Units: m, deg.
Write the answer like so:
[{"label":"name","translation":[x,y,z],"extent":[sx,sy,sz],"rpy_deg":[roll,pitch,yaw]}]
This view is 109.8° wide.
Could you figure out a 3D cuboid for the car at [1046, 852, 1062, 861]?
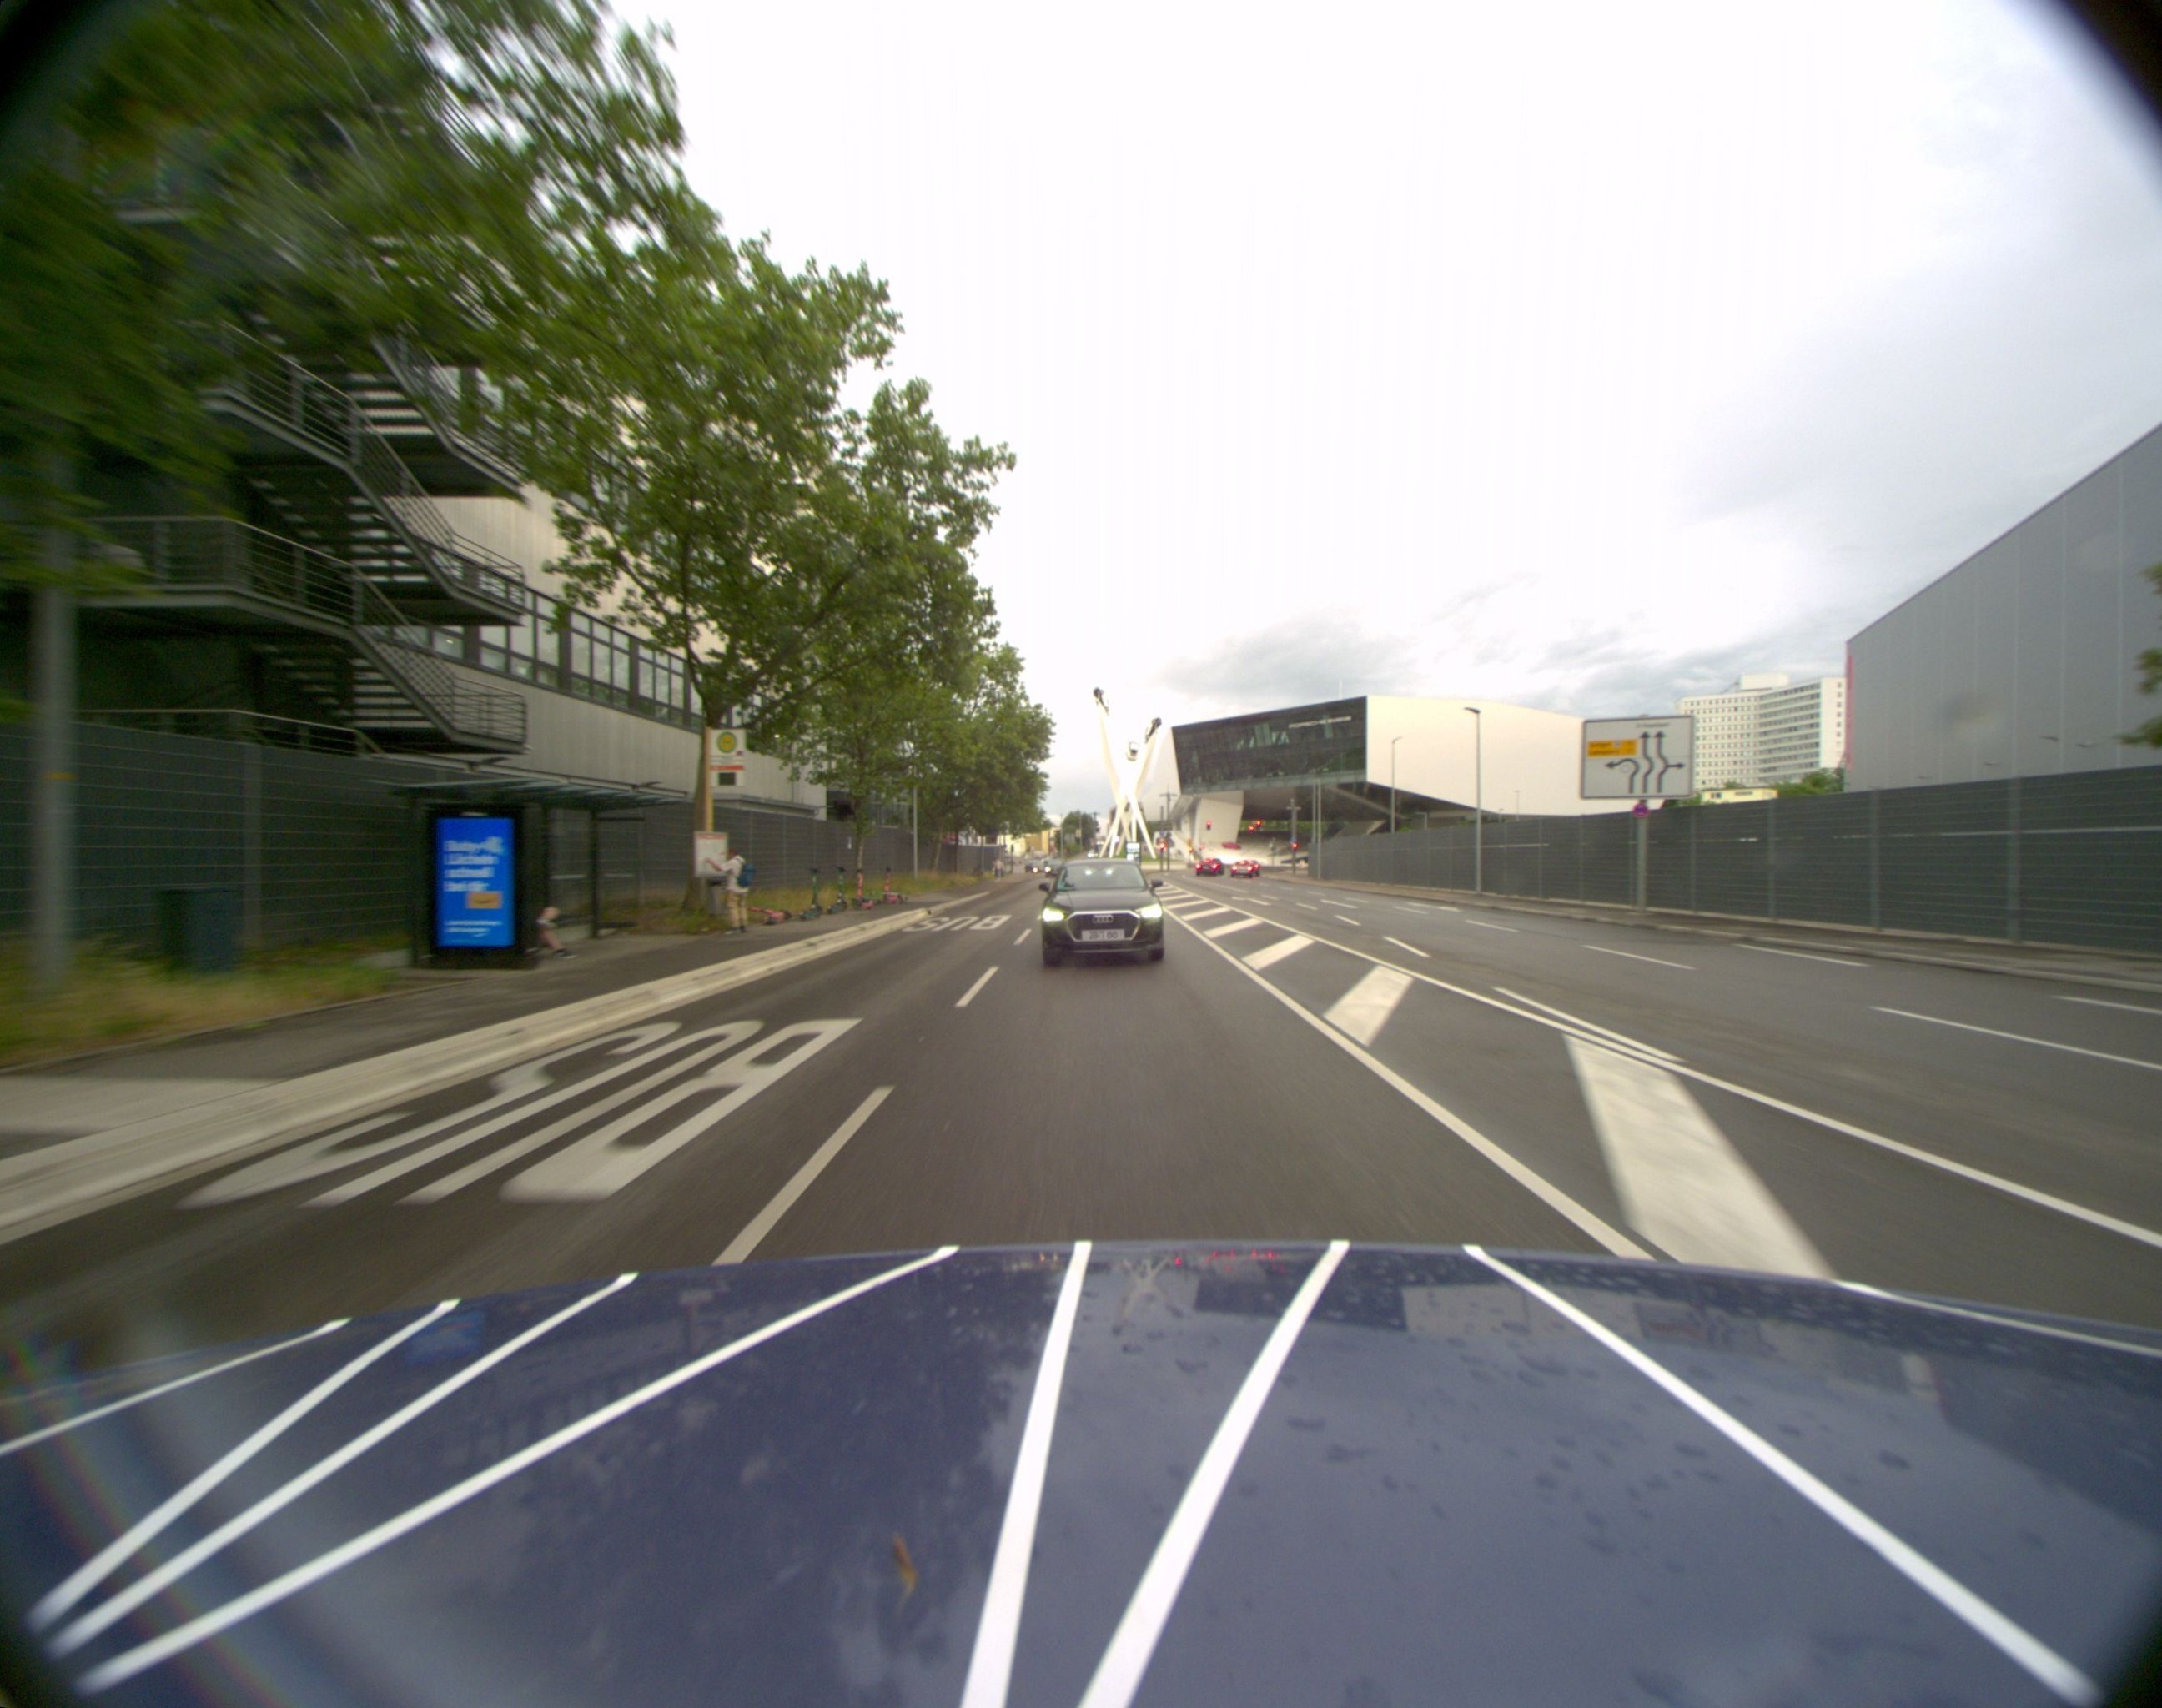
[{"label":"car","translation":[-4.776,0.497,134.508],"extent":[1.878,1.509,3.856],"rpy_deg":[1,0,14]}]

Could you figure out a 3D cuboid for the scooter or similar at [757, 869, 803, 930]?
[{"label":"scooter or similar","translation":[-6.784,1.008,17.162],"extent":[0.437,1.288,1.301],"rpy_deg":[0,0,4]}]

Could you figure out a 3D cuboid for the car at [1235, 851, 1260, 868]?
[{"label":"car","translation":[16.242,0.532,74.196],"extent":[1.861,1.641,3.793],"rpy_deg":[0,0,20]}]

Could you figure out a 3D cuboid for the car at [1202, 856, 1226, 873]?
[{"label":"car","translation":[13.036,1.027,74.316],"extent":[1.878,1.641,3.857],"rpy_deg":[0,0,17]}]

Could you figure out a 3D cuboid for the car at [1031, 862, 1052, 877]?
[{"label":"car","translation":[-4.343,1.722,84.309],"extent":[1.880,1.509,3.852],"rpy_deg":[1,0,3]}]

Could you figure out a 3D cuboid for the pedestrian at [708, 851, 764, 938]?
[{"label":"pedestrian","translation":[-6.835,0.786,15.081],"extent":[0.778,1.700,0.729],"rpy_deg":[0,1,1]}]

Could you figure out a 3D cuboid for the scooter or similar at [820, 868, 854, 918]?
[{"label":"scooter or similar","translation":[-6.640,1.046,20.719],"extent":[0.437,1.288,1.301],"rpy_deg":[0,0,4]}]

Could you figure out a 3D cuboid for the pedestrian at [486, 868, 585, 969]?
[{"label":"pedestrian","translation":[-7.924,0.914,11.064],"extent":[0.932,1.407,0.698],"rpy_deg":[0,1,0]}]

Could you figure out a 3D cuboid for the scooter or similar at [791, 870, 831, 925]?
[{"label":"scooter or similar","translation":[-6.584,1.038,18.576],"extent":[0.437,1.288,1.301],"rpy_deg":[0,0,4]}]

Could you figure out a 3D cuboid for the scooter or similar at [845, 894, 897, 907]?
[{"label":"scooter or similar","translation":[-6.938,1.540,25.186],"extent":[1.098,0.343,1.260],"rpy_deg":[0,0,25]}]

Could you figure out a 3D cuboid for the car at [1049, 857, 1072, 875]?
[{"label":"car","translation":[-1.739,0.978,64.968],"extent":[1.881,1.485,4.076],"rpy_deg":[1,0,-2]}]

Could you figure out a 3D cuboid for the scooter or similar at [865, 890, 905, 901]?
[{"label":"scooter or similar","translation":[-7.174,1.513,27.750],"extent":[1.184,0.309,1.200],"rpy_deg":[0,0,-27]}]

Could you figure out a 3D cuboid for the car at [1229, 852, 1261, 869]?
[{"label":"car","translation":[14.288,0.548,66.179],"extent":[2.266,1.468,4.053],"rpy_deg":[0,0,19]}]

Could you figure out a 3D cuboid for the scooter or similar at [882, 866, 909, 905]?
[{"label":"scooter or similar","translation":[-6.452,1.078,26.460],"extent":[0.437,1.277,1.301],"rpy_deg":[0,0,9]}]

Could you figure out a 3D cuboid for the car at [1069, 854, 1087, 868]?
[{"label":"car","translation":[-0.338,0.751,85.157],"extent":[1.842,1.444,4.786],"rpy_deg":[-1,0,0]}]

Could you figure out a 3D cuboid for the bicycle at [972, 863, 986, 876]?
[{"label":"bicycle","translation":[-7.389,1.086,55.137],"extent":[0.727,0.870,1.905],"rpy_deg":[-1,1,0]}]

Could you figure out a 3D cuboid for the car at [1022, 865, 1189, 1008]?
[{"label":"car","translation":[0.290,1.021,11.647],"extent":[1.951,1.609,5.277],"rpy_deg":[-1,0,0]}]

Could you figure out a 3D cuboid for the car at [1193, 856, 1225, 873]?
[{"label":"car","translation":[11.673,0.942,69.256],"extent":[2.255,1.468,3.885],"rpy_deg":[0,0,19]}]

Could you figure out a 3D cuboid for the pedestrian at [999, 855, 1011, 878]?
[{"label":"pedestrian","translation":[-5.492,0.904,54.690],"extent":[0.723,1.657,0.833],"rpy_deg":[2,1,0]}]

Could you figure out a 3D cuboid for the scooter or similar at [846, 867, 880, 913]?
[{"label":"scooter or similar","translation":[-6.490,1.051,22.671],"extent":[0.437,1.288,1.368],"rpy_deg":[0,0,9]}]

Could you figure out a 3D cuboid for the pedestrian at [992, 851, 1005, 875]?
[{"label":"pedestrian","translation":[-5.567,0.584,51.518],"extent":[0.723,1.610,0.833],"rpy_deg":[2,1,0]}]
